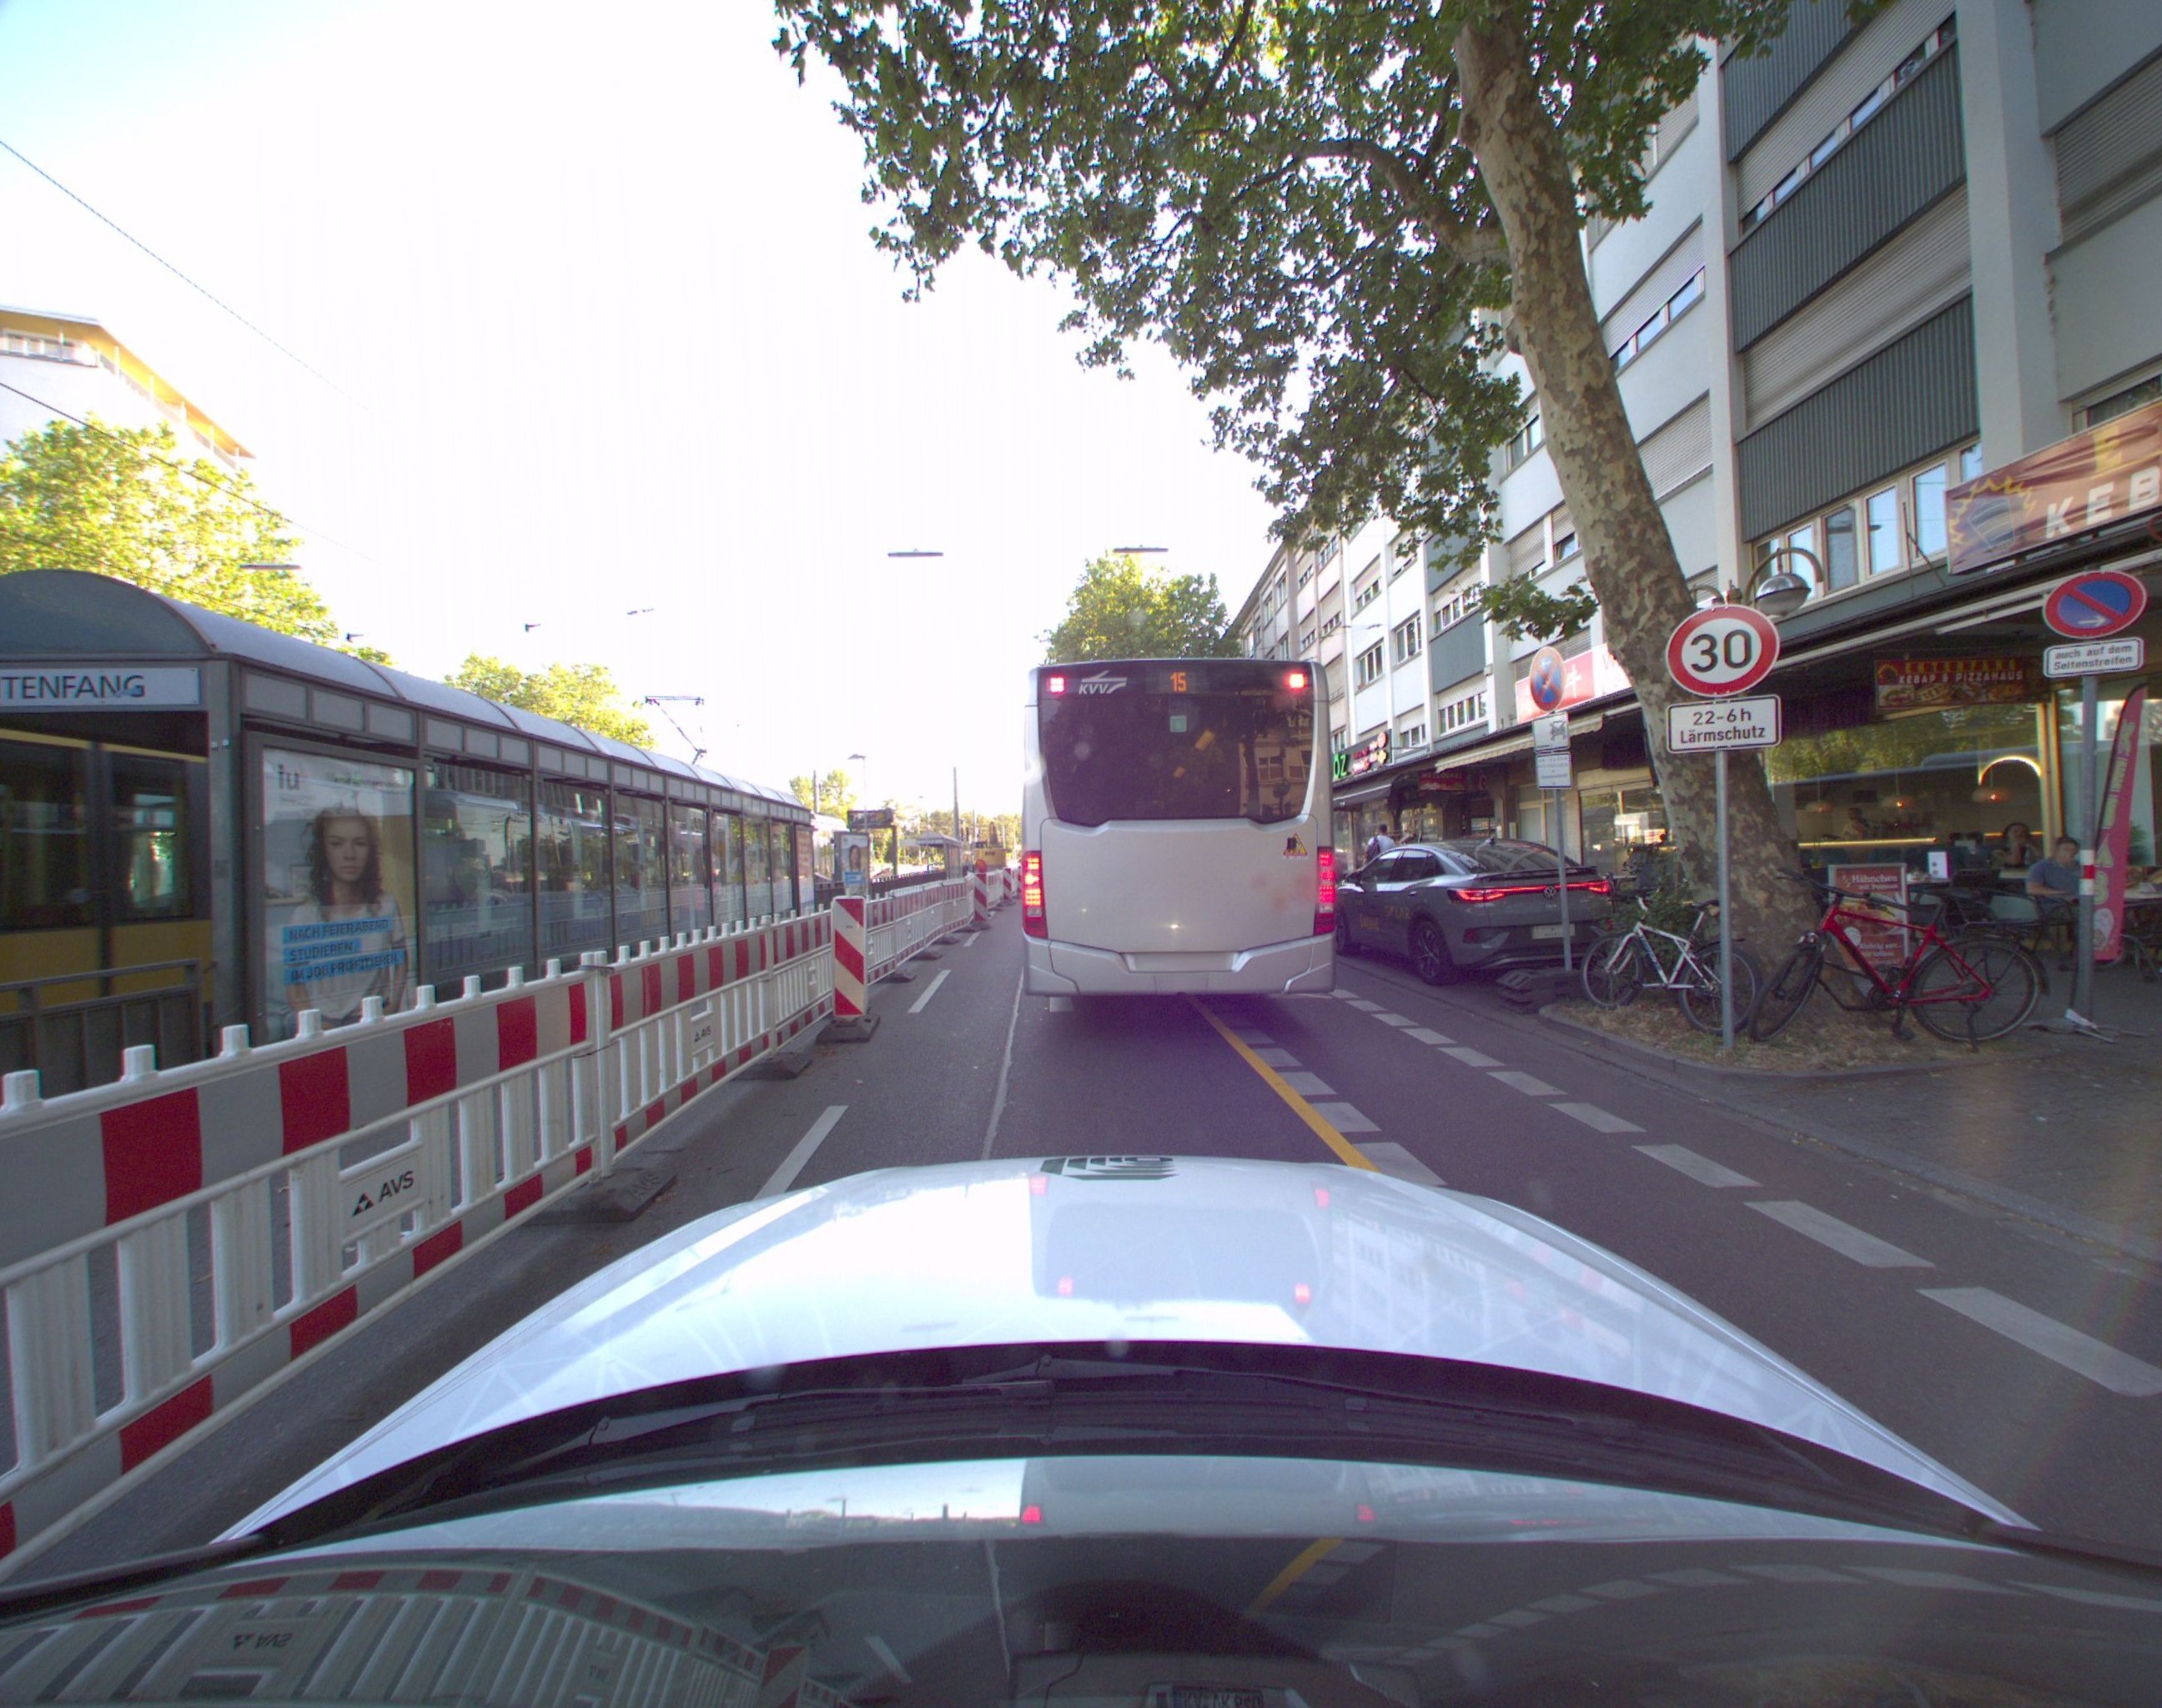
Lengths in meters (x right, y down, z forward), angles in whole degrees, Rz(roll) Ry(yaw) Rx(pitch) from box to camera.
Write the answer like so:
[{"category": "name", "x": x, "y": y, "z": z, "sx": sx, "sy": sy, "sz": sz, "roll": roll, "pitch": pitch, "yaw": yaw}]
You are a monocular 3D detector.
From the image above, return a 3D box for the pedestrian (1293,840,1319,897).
[{"category": "pedestrian", "x": 8.068, "y": 0.508, "z": 29.280, "sx": 0.688, "sy": 2.014, "sz": 0.696, "roll": -2, "pitch": -1, "yaw": 1}]

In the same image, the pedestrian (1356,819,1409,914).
[{"category": "pedestrian", "x": 6.658, "y": 0.269, "z": 18.022, "sx": 0.767, "sy": 2.013, "sz": 0.713, "roll": -3, "pitch": -1, "yaw": -4}]

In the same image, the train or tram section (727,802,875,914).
[{"category": "train or tram section", "x": -10.175, "y": 0.162, "z": 31.016, "sx": 2.812, "sy": 3.487, "sz": 10.319, "roll": -2, "pitch": 0, "yaw": -5}]

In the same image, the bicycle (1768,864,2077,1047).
[{"category": "bicycle", "x": 5.499, "y": 0.673, "z": 5.373, "sx": 1.450, "sy": 1.066, "sz": 0.297, "roll": -6, "pitch": 2, "yaw": 13}]

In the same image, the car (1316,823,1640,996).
[{"category": "car", "x": 4.594, "y": 0.561, "z": 10.277, "sx": 1.736, "sy": 1.597, "sz": 4.294, "roll": -4, "pitch": 0, "yaw": -3}]

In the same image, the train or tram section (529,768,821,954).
[{"category": "train or tram section", "x": -9.398, "y": 0.159, "z": 20.743, "sx": 2.830, "sy": 3.487, "sz": 10.323, "roll": -2, "pitch": 0, "yaw": -4}]

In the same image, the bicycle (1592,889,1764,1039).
[{"category": "bicycle", "x": 4.486, "y": 0.785, "z": 6.192, "sx": 0.294, "sy": 0.927, "sz": 1.127, "roll": -6, "pitch": 2, "yaw": -8}]

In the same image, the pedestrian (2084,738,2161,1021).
[{"category": "pedestrian", "x": 7.698, "y": 0.154, "z": 5.244, "sx": 1.018, "sy": 1.890, "sz": 1.123, "roll": -2, "pitch": -1, "yaw": 1}]

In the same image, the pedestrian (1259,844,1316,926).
[{"category": "pedestrian", "x": 4.142, "y": 0.611, "z": 16.307, "sx": 0.742, "sy": 1.581, "sz": 0.882, "roll": -3, "pitch": -1, "yaw": 40}]

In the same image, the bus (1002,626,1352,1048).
[{"category": "bus", "x": 0.922, "y": -0.124, "z": 11.365, "sx": 2.598, "sy": 3.170, "sz": 10.297, "roll": -1, "pitch": 0, "yaw": 2}]

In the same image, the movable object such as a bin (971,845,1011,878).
[{"category": "movable object such as a bin", "x": -7.041, "y": 0.597, "z": 64.010, "sx": 2.800, "sy": 2.462, "sz": 3.995, "roll": -2, "pitch": 0, "yaw": -3}]

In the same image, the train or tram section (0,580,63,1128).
[{"category": "train or tram section", "x": -7.920, "y": -0.016, "z": 0.224, "sx": 2.830, "sy": 3.487, "sz": 10.321, "roll": -2, "pitch": 0, "yaw": -4}]

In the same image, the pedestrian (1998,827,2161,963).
[{"category": "pedestrian", "x": 9.628, "y": 0.383, "z": 7.851, "sx": 0.673, "sy": 1.203, "sz": 0.706, "roll": -5, "pitch": -1, "yaw": 11}]

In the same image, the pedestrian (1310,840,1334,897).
[{"category": "pedestrian", "x": 8.736, "y": 0.517, "z": 29.527, "sx": 0.610, "sy": 2.014, "sz": 0.696, "roll": -2, "pitch": -1, "yaw": 1}]

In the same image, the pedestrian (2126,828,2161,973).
[{"category": "pedestrian", "x": 9.566, "y": 0.387, "z": 6.814, "sx": 0.612, "sy": 1.243, "sz": 0.714, "roll": -5, "pitch": -1, "yaw": 11}]

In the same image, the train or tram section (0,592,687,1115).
[{"category": "train or tram section", "x": -8.693, "y": 0.067, "z": 10.463, "sx": 2.866, "sy": 3.487, "sz": 10.322, "roll": -2, "pitch": 0, "yaw": -4}]
